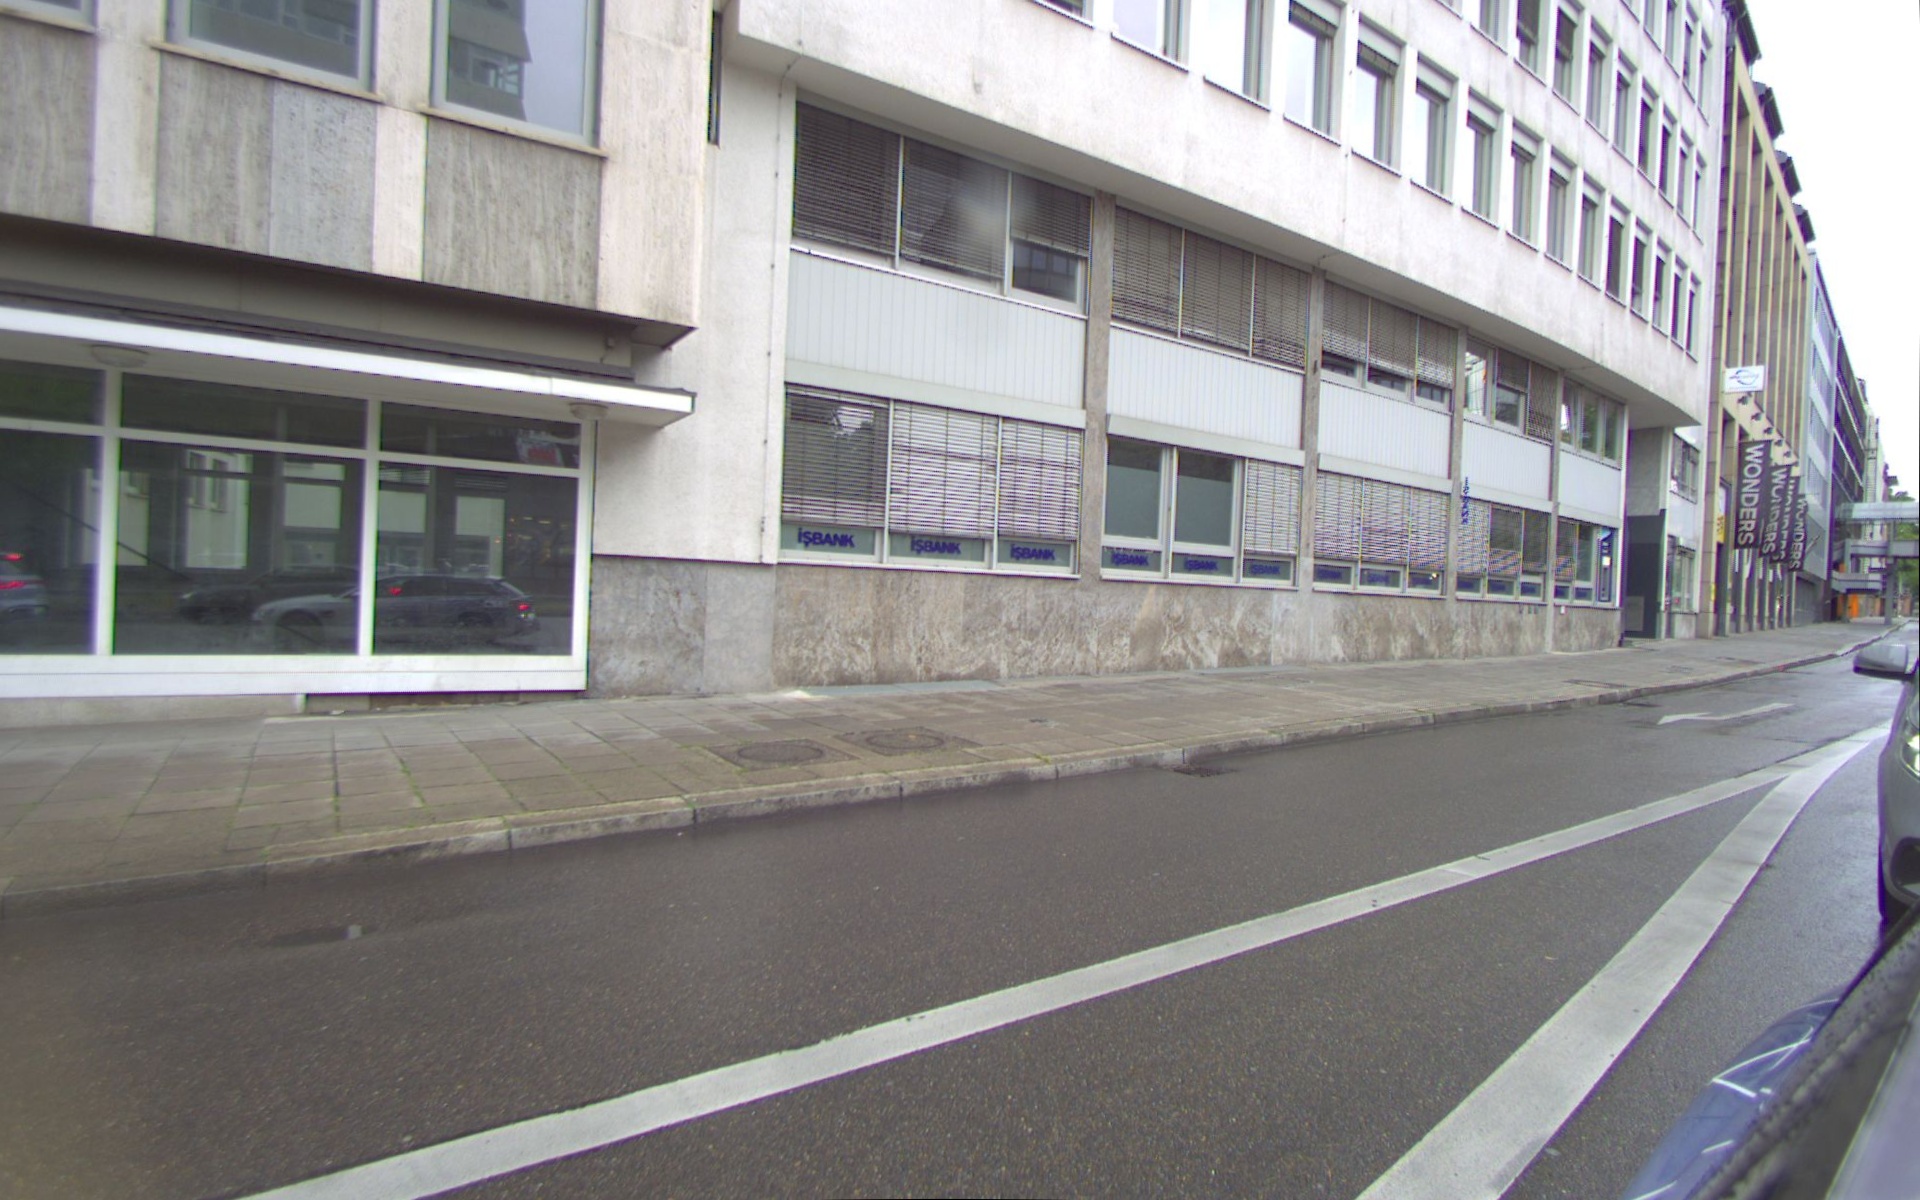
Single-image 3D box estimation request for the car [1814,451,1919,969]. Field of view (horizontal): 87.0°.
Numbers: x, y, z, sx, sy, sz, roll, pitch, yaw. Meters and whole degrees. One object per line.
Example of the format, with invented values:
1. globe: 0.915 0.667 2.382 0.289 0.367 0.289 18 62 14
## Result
1. car: 6.110 0.456 5.171 4.957 2.051 2.159 0 0 -44
